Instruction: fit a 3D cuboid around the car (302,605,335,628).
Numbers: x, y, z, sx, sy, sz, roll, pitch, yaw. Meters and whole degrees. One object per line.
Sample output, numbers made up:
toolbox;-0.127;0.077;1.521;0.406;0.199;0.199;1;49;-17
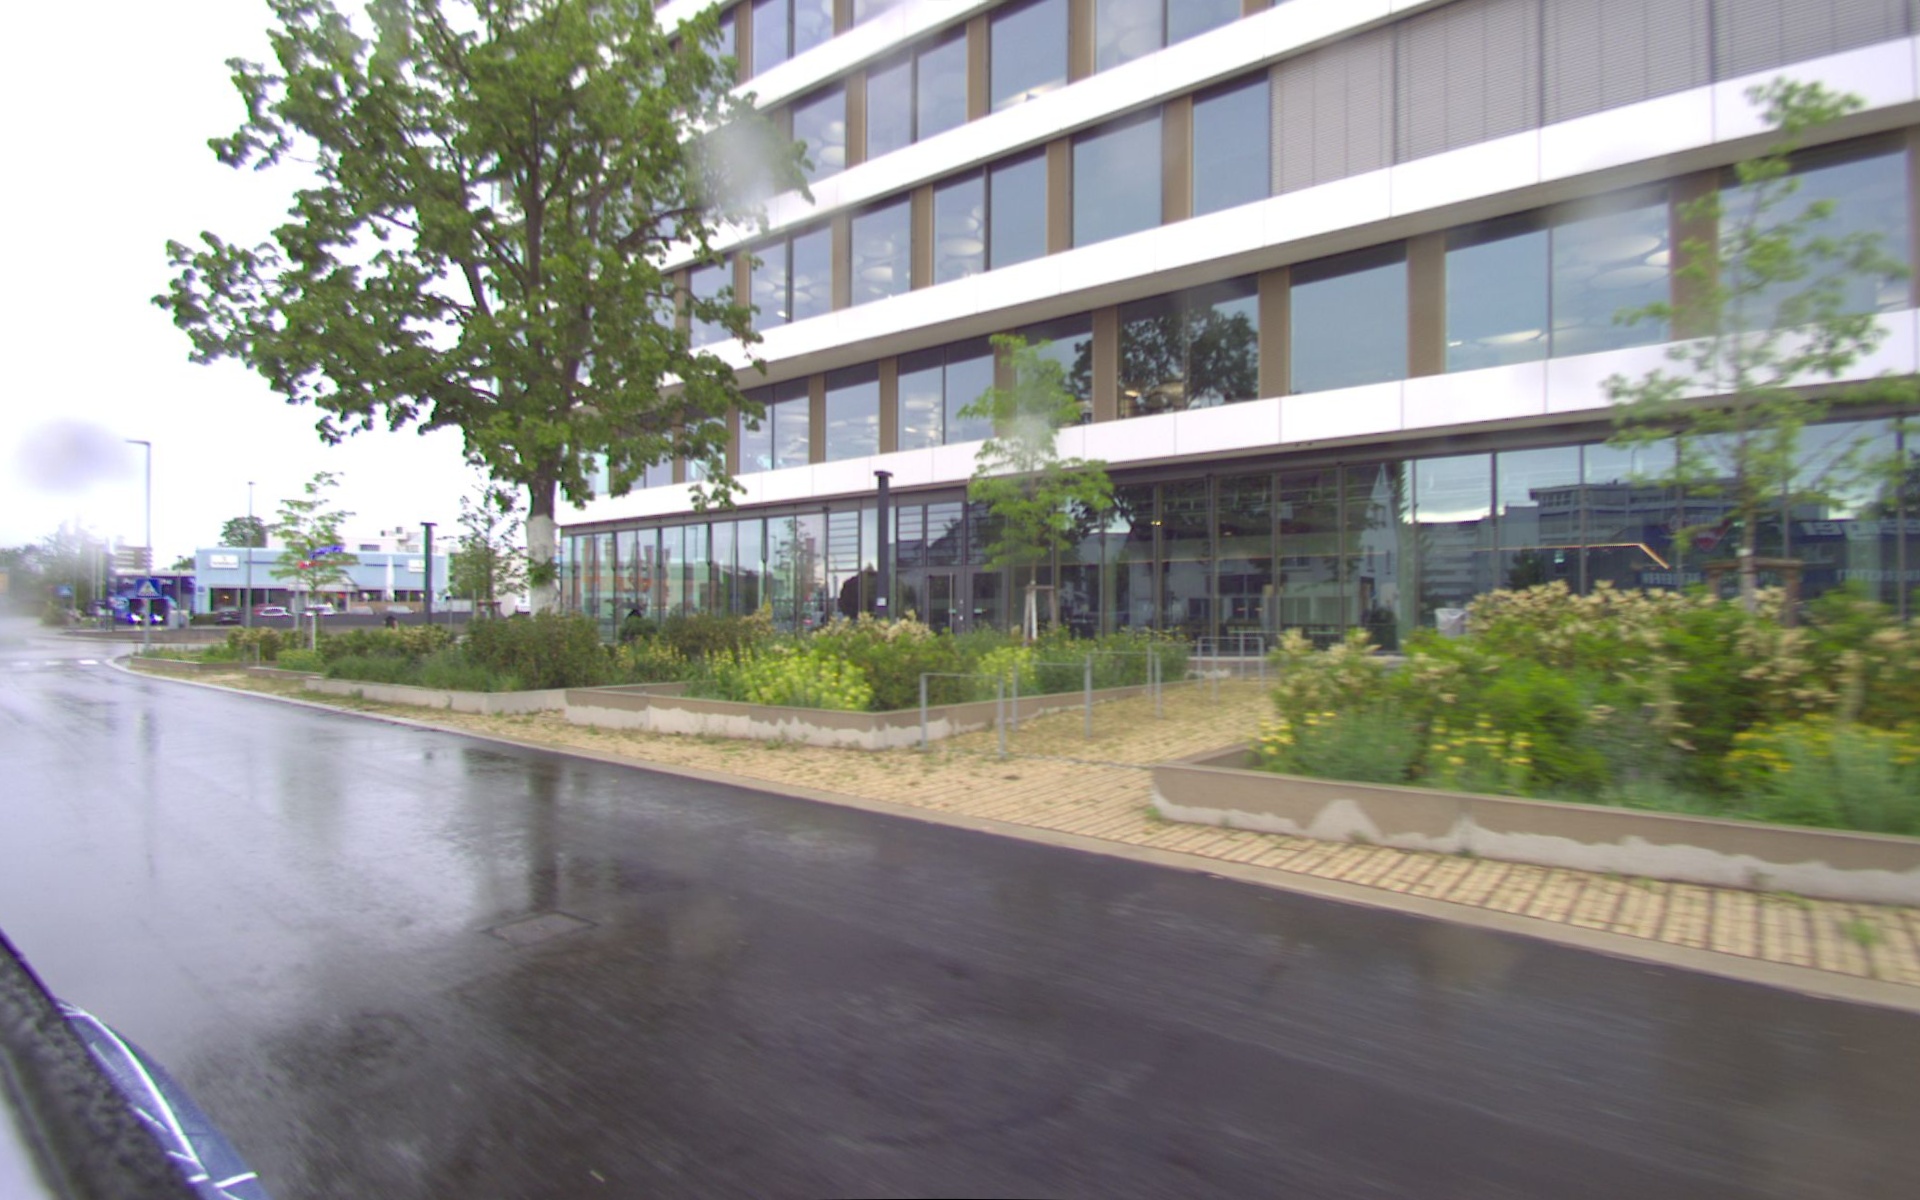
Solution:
car;-46.011;1.187;72.636;1.764;1.564;4.012;0;-1;-30

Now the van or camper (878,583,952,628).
van or camper;-3.300;0.402;74.619;5.014;3.111;2.006;-2;0;-29

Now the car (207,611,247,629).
car;-58.017;1.536;80.177;1.855;1.305;4.013;-3;1;-26

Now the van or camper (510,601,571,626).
van or camper;-33.504;1.053;80.762;4.306;1.774;1.894;-3;1;-26

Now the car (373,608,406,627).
car;-41.900;1.275;74.431;1.855;1.305;4.013;-3;1;-26

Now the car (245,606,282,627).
car;-56.080;1.319;81.556;1.855;1.497;4.013;-3;1;-26

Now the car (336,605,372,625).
car;-43.936;1.052;73.446;1.855;1.305;4.013;-3;1;-26

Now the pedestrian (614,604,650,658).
pedestrian;-10.973;1.026;33.825;0.956;1.716;0.716;1;3;43

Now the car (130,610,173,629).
car;-69.136;1.666;86.578;1.888;1.541;4.013;-2;0;-24

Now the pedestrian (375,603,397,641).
pedestrian;-31.164;1.175;54.954;0.878;2.029;0.935;-1;-1;-22

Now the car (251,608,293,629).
car;-48.105;1.288;70.874;1.855;1.305;4.013;-3;1;-26
